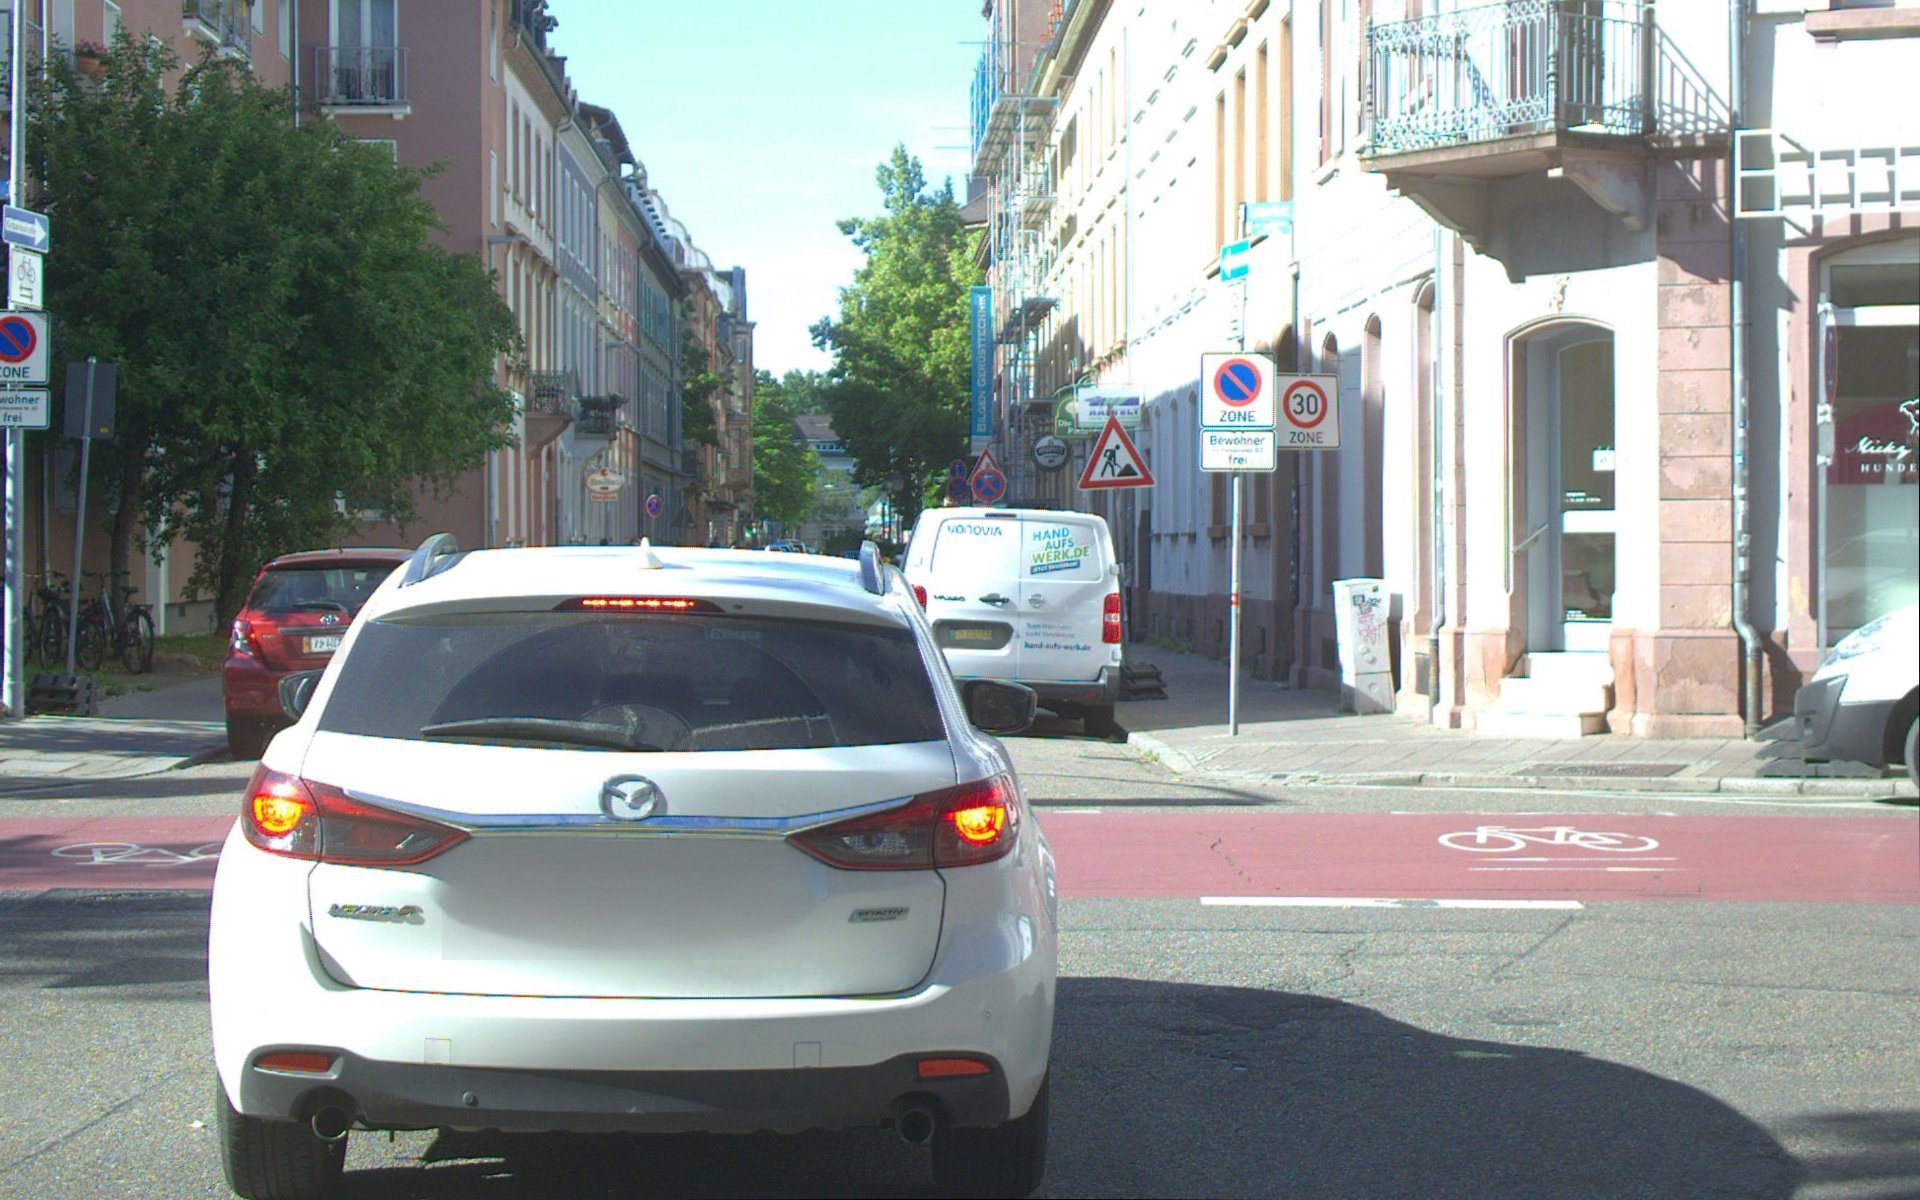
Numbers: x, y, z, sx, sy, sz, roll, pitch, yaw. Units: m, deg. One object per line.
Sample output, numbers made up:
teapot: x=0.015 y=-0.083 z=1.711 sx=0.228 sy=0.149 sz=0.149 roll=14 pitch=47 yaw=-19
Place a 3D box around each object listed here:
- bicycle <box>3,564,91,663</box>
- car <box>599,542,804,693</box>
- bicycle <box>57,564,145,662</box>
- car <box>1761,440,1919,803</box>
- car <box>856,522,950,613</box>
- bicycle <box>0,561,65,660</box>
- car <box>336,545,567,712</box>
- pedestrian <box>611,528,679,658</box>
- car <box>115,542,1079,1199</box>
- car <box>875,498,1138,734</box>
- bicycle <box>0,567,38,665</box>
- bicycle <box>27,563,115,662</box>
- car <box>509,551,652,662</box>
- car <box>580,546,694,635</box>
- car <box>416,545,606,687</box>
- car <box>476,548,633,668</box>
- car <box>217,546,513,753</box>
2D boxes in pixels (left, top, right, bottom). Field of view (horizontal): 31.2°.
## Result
bicycle: x=-10.020 y=0.138 z=37.728 sx=1.215 sy=1.067 sz=0.253 roll=1 pitch=1 yaw=38
car: x=-2.498 y=0.126 z=34.081 sx=1.760 sy=1.405 sz=4.328 roll=0 pitch=1 yaw=-1
bicycle: x=-9.524 y=0.138 z=38.098 sx=1.218 sy=1.068 sz=0.253 roll=1 pitch=1 yaw=38
car: x=7.054 y=0.111 z=18.690 sx=5.015 sy=1.939 sz=2.049 roll=0 pitch=1 yaw=22
car: x=-1.183 y=-0.697 z=71.739 sx=1.894 sy=1.853 sz=3.995 roll=0 pitch=1 yaw=-1
bicycle: x=-10.248 y=0.107 z=37.478 sx=1.215 sy=1.068 sz=0.265 roll=1 pitch=1 yaw=38
car: x=-4.794 y=0.220 z=32.899 sx=1.653 sy=1.495 sz=4.080 roll=0 pitch=1 yaw=-1
pedestrian: x=-3.966 y=-0.098 z=43.228 sx=0.733 sy=1.608 sz=0.816 roll=-1 pitch=1 yaw=-13
car: x=-0.719 y=0.584 z=8.538 sx=1.831 sy=1.452 sz=3.962 roll=0 pitch=1 yaw=-1
car: x=0.319 y=0.085 z=30.465 sx=1.894 sy=1.853 sz=5.015 roll=2 pitch=1 yaw=-3
bicycle: x=-10.474 y=0.165 z=37.210 sx=1.215 sy=1.032 sz=0.290 roll=1 pitch=1 yaw=38
bicycle: x=-9.820 y=0.134 z=37.957 sx=1.215 sy=1.068 sz=0.253 roll=1 pitch=1 yaw=38
car: x=-5.343 y=0.060 z=48.754 sx=1.653 sy=1.495 sz=3.763 roll=0 pitch=1 yaw=-1
car: x=-5.536 y=-0.188 z=59.204 sx=1.653 sy=1.495 sz=3.763 roll=0 pitch=1 yaw=-1
car: x=-4.900 y=0.137 z=37.916 sx=1.653 sy=1.495 sz=3.763 roll=0 pitch=1 yaw=-1
car: x=-5.239 y=0.069 z=44.771 sx=1.653 sy=1.495 sz=3.763 roll=0 pitch=1 yaw=-1
car: x=-4.552 y=0.325 z=26.769 sx=1.685 sy=1.495 sz=3.807 roll=0 pitch=1 yaw=-1
